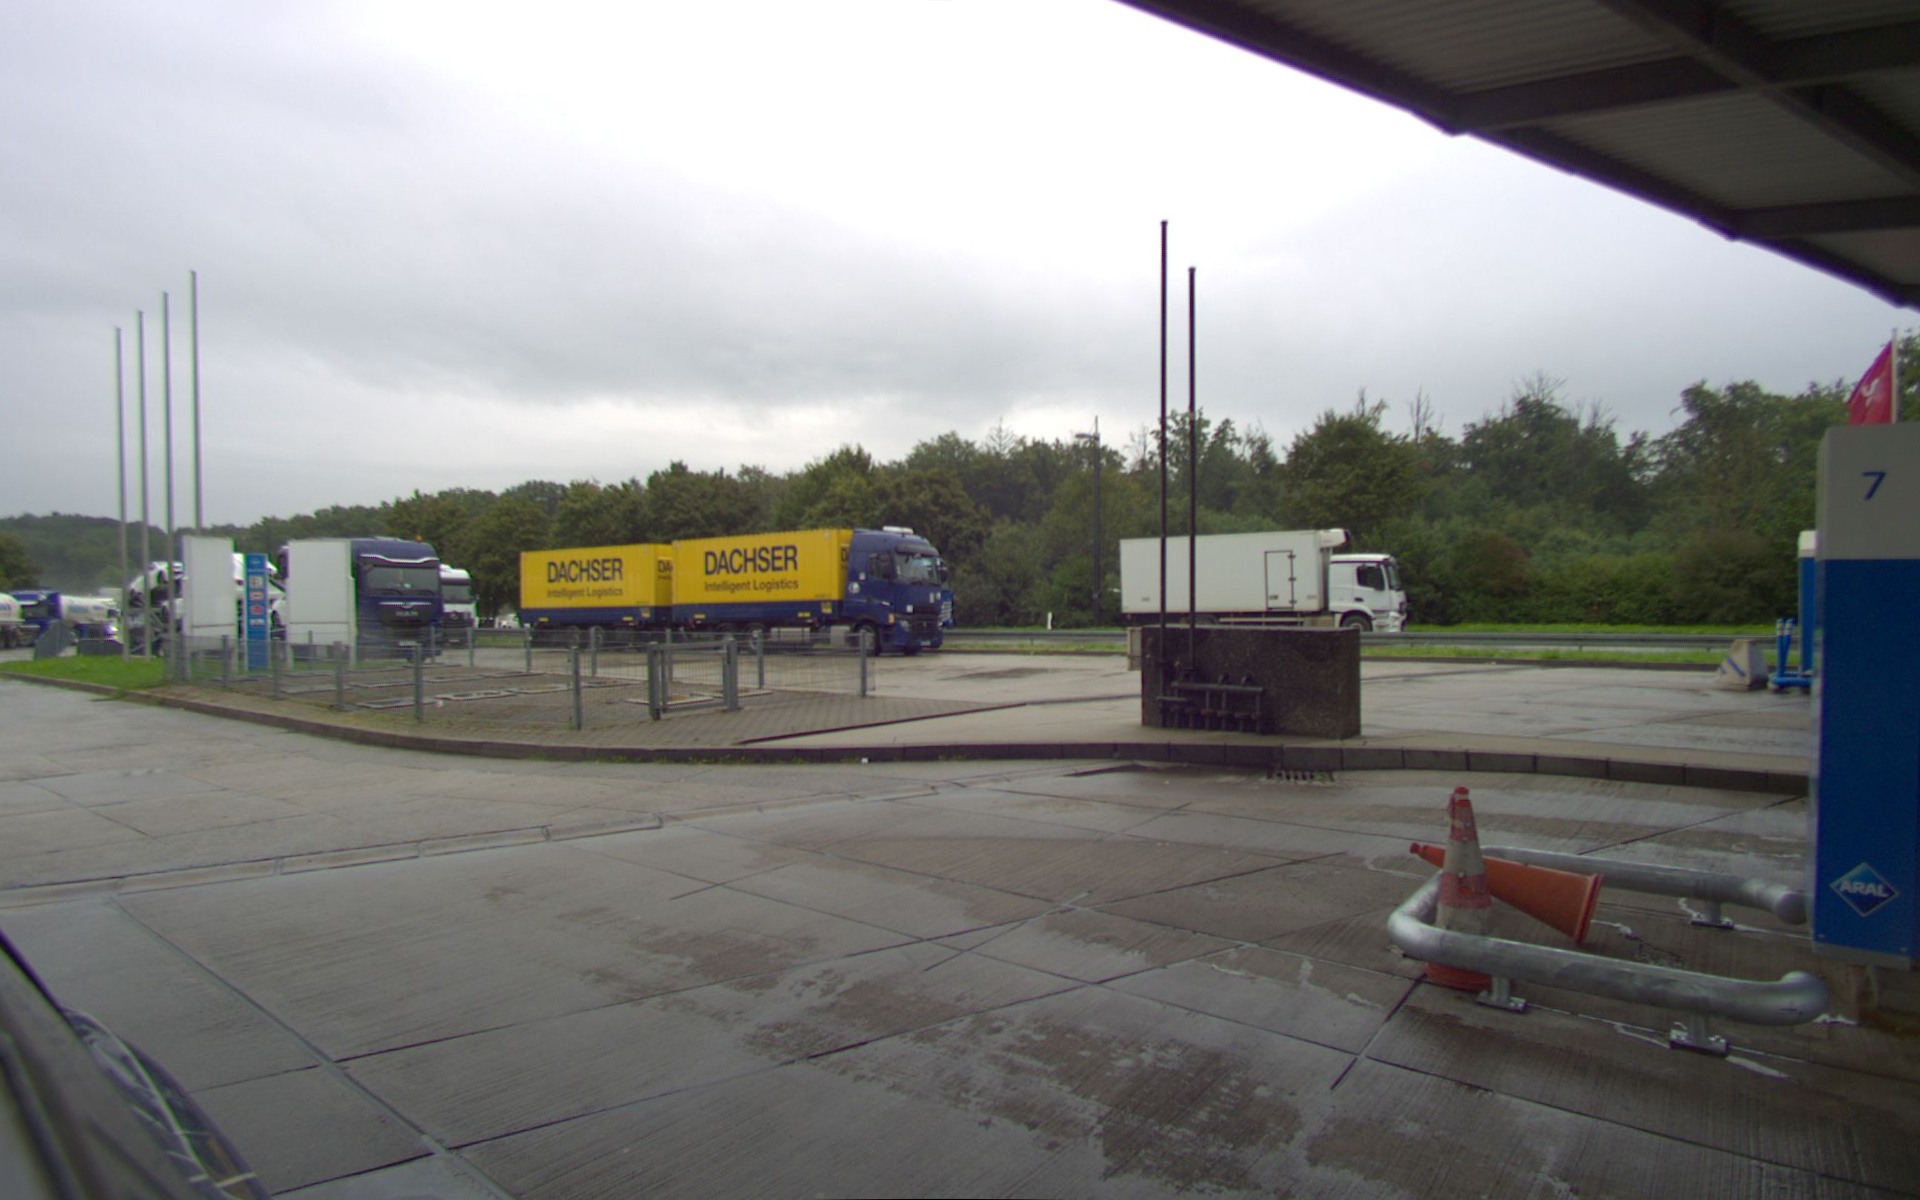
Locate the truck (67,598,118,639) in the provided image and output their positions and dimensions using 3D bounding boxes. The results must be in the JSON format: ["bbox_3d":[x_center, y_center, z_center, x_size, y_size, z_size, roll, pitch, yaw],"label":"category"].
[{"bbox_3d":[-93.888,1.942,109.473,11.525,4.160,3.101,-1,0,44],"label":"truck"}]

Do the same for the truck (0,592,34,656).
[{"bbox_3d":[-55.158,1.334,53.693,3.454,3.633,14.444,-1,-1,-19],"label":"truck"}]

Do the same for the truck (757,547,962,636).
[{"bbox_3d":[-4.881,-0.322,47.646,10.195,3.836,2.395,-1,0,31],"label":"truck"}]

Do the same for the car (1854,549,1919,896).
[{"bbox_3d":[6.908,0.539,3.802,5.269,1.620,1.842,-1,0,41],"label":"car"}]

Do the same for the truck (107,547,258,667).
[{"bbox_3d":[-29.591,0.295,38.450,6.605,4.213,2.635,-1,0,35],"label":"truck"}]

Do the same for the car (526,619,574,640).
[{"bbox_3d":[-37.365,2.680,92.161,4.355,1.904,1.712,-1,0,30],"label":"car"}]

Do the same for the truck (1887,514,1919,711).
[{"bbox_3d":[14.991,0.119,11.957,5.859,2.513,2.208,-1,0,41],"label":"truck"}]

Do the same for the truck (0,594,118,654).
[{"bbox_3d":[-61.496,1.616,68.660,3.454,3.633,14.709,-1,-1,-27],"label":"truck"}]

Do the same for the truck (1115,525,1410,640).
[{"bbox_3d":[10.967,-0.525,37.451,10.195,3.836,2.395,-1,0,31],"label":"truck"}]

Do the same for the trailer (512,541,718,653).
[{"bbox_3d":[-13.501,-0.079,39.261,8.679,3.946,2.728,-1,0,32],"label":"trailer"}]

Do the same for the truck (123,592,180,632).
[{"bbox_3d":[-109.983,1.641,137.640,11.498,5.160,3.109,-1,0,36],"label":"truck"}]

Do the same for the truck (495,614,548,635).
[{"bbox_3d":[-46.070,2.559,106.231,5.810,2.140,2.061,-1,0,31],"label":"truck"}]

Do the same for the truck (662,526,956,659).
[{"bbox_3d":[-5.339,-0.184,34.032,10.654,3.946,2.727,-1,0,33],"label":"truck"}]

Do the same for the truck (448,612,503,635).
[{"bbox_3d":[-47.467,2.280,99.114,5.810,2.140,2.061,-1,0,31],"label":"truck"}]

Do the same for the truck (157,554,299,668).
[{"bbox_3d":[-26.109,0.391,36.077,4.738,3.800,2.635,-1,0,34],"label":"truck"}]

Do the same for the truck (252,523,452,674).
[{"bbox_3d":[-19.011,0.007,31.480,7.089,4.213,2.635,-1,0,35],"label":"truck"}]

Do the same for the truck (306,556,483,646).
[{"bbox_3d":[-27.320,0.098,48.631,10.654,3.946,2.727,-1,0,33],"label":"truck"}]
